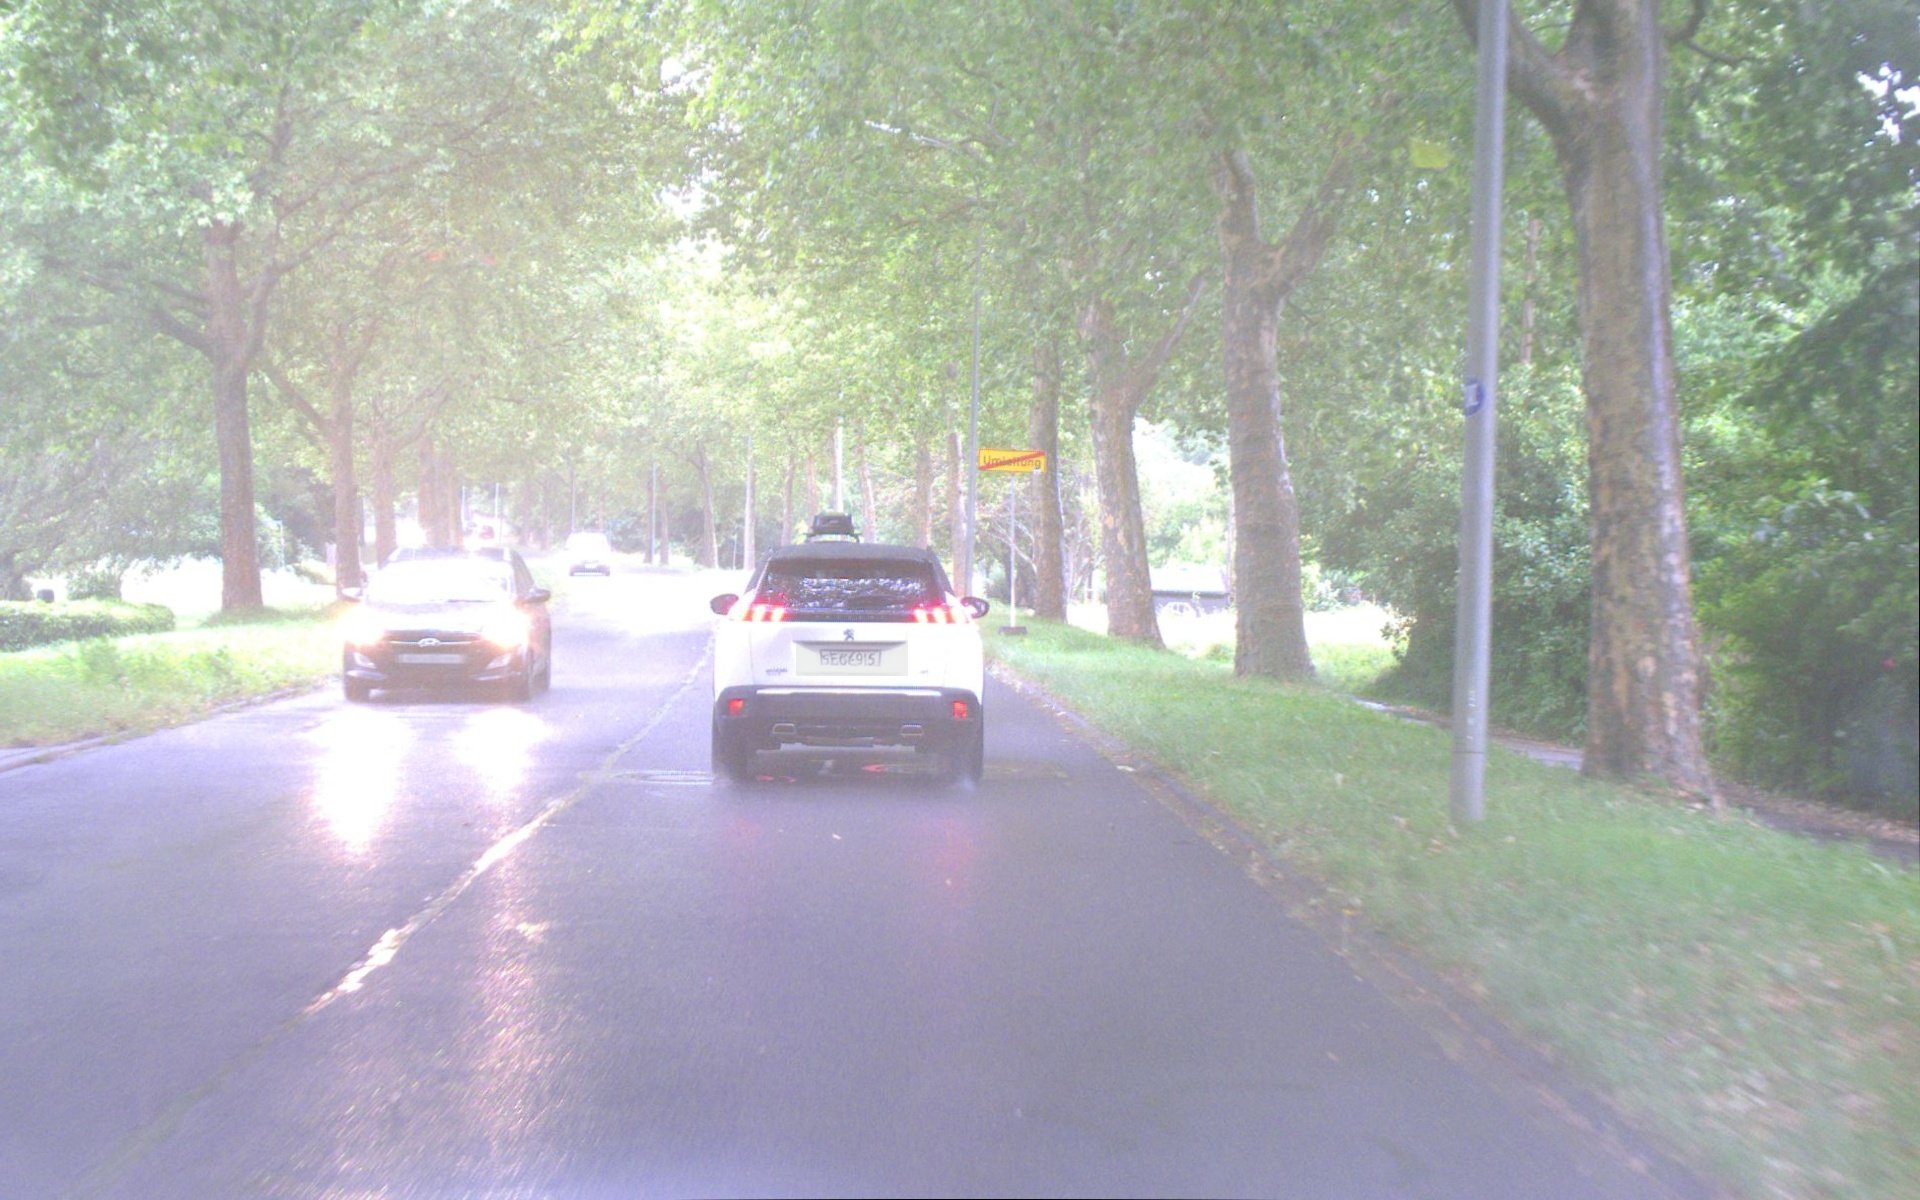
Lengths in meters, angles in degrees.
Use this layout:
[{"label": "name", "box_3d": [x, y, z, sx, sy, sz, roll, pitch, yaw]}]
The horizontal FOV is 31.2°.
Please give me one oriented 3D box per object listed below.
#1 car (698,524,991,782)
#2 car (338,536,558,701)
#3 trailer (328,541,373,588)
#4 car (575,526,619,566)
[{"label": "car", "box_3d": [-0.758, 0.295, 23.452, 1.794, 1.573, 3.844, 1, 1, -1]}, {"label": "car", "box_3d": [-5.033, 0.147, 34.246, 1.845, 1.497, 4.001, 1, 1, -4]}, {"label": "trailer", "box_3d": [-35.009, -2.051, 197.462, 2.484, 2.558, 5.334, 1, 1, -10]}, {"label": "car", "box_3d": [-16.693, -2.485, 158.354, 1.862, 1.744, 5.016, 1, 1, -5]}]
